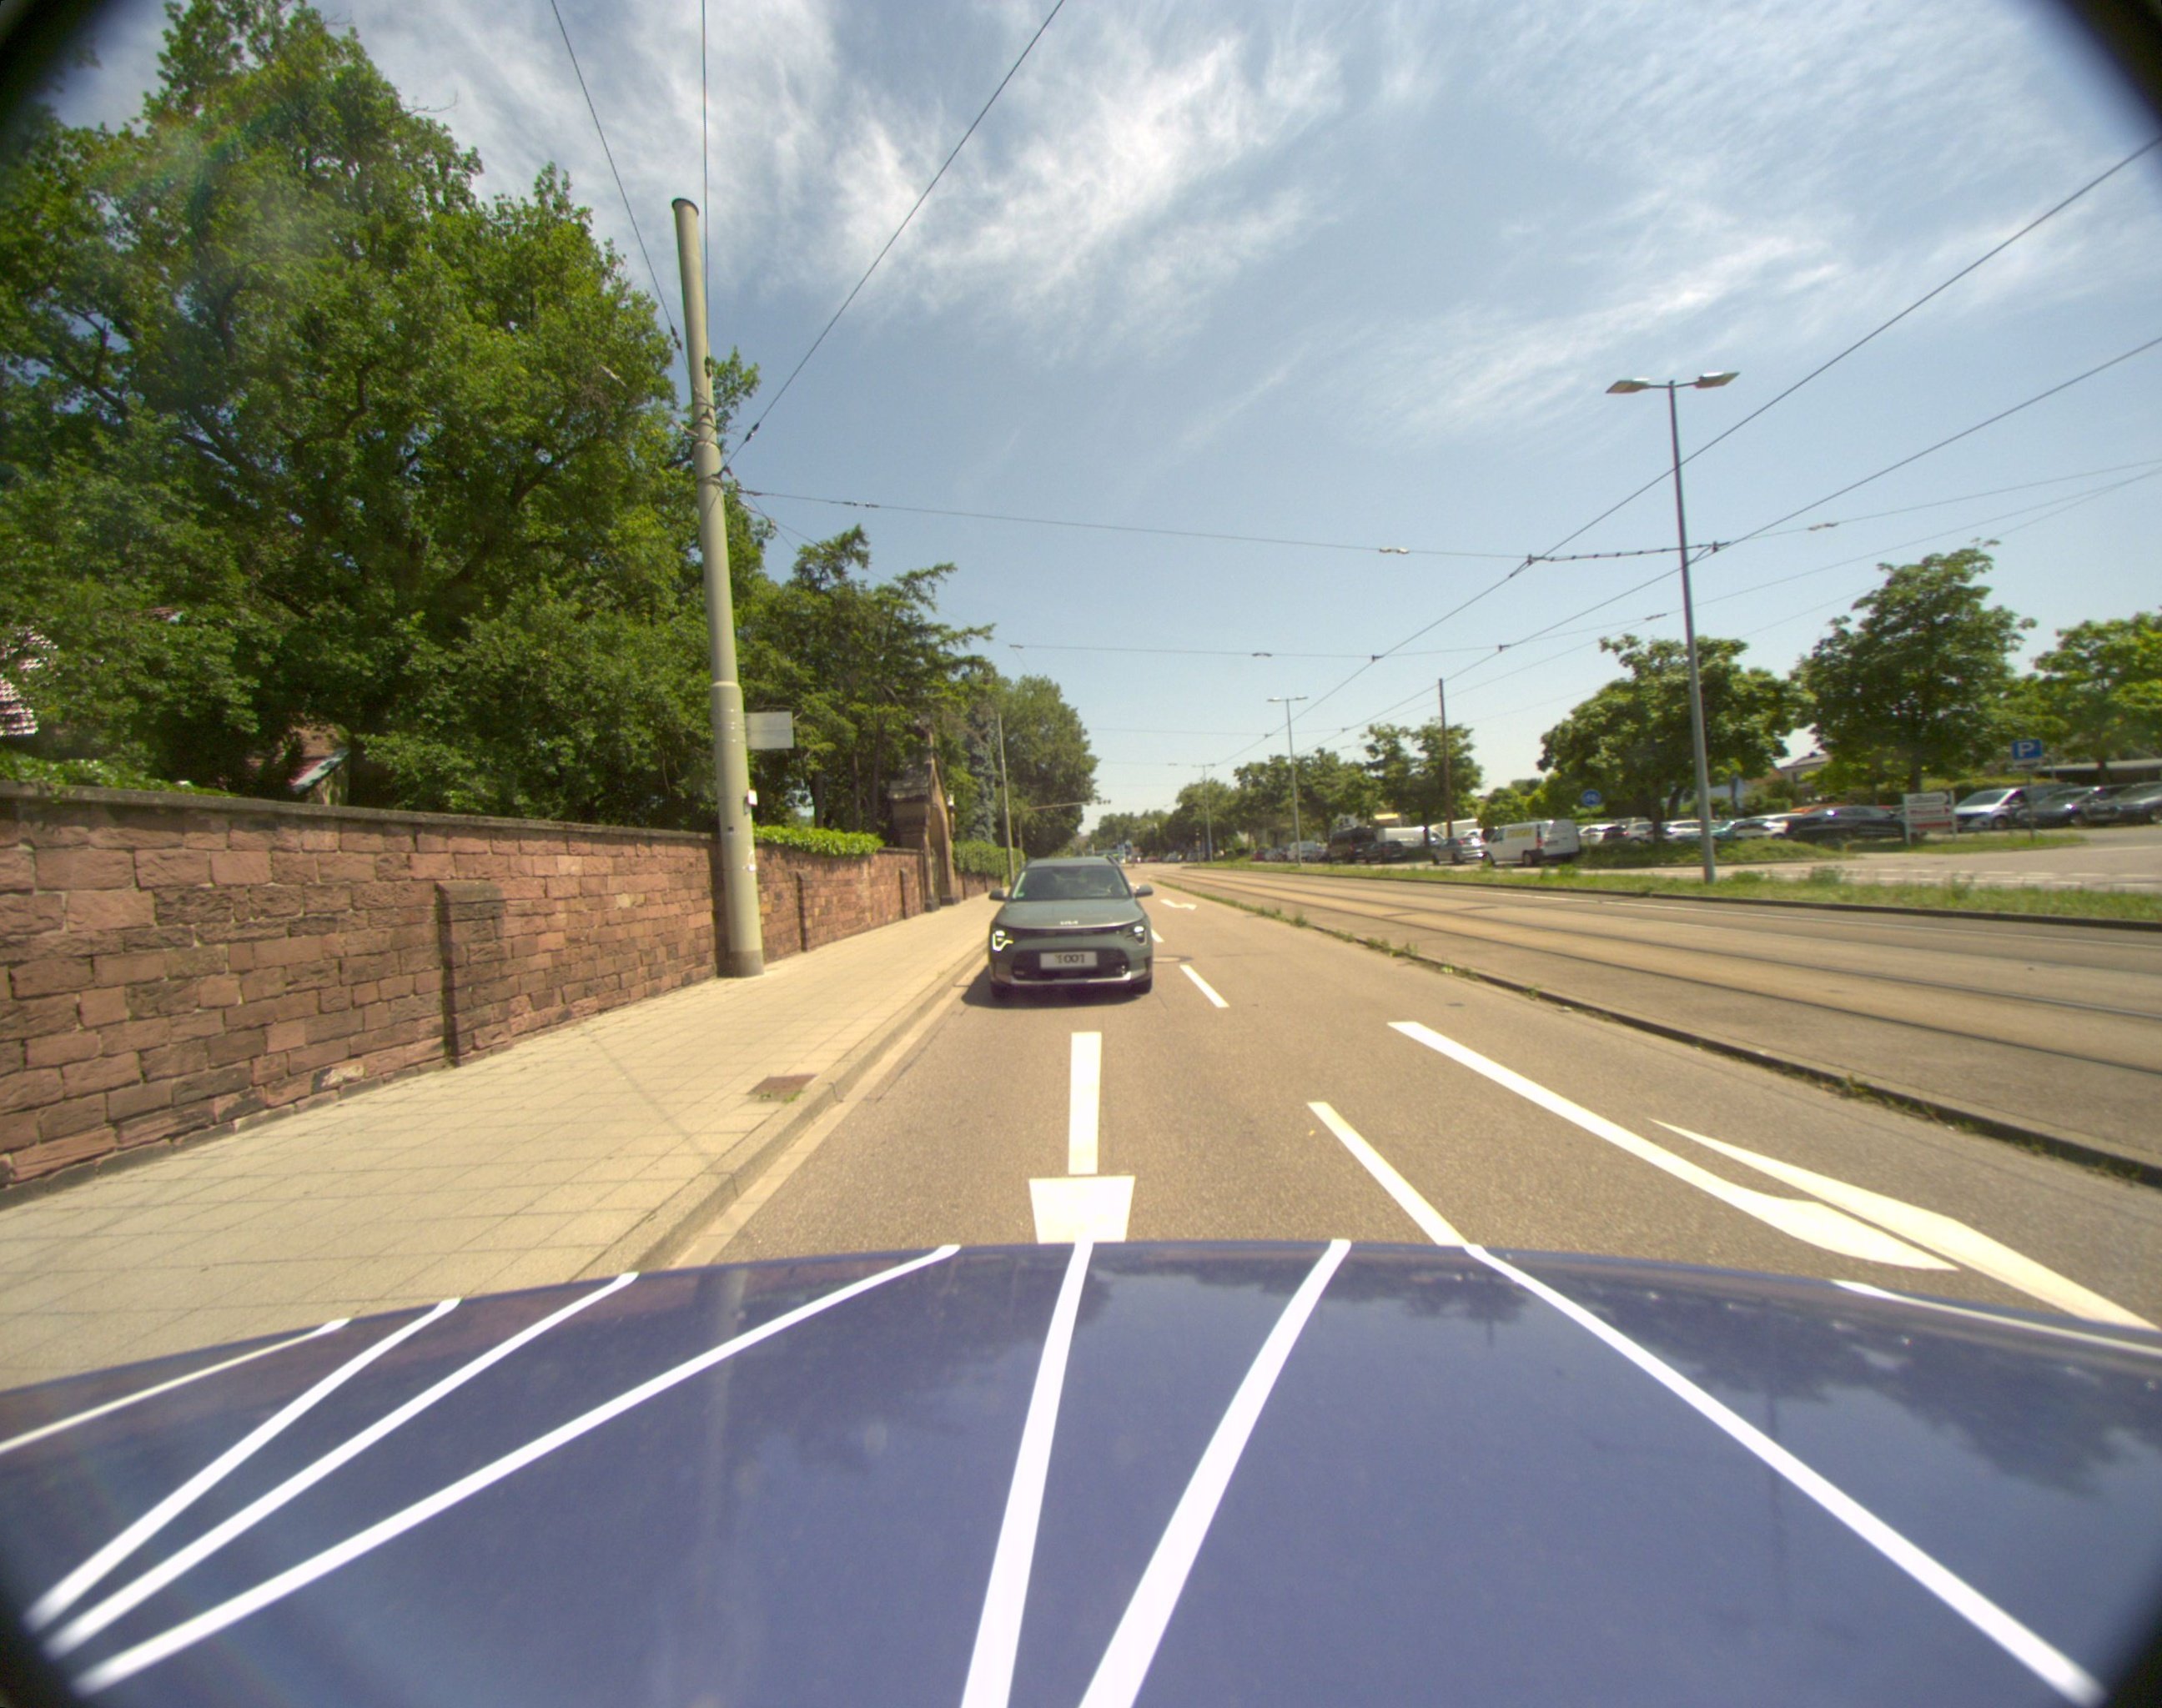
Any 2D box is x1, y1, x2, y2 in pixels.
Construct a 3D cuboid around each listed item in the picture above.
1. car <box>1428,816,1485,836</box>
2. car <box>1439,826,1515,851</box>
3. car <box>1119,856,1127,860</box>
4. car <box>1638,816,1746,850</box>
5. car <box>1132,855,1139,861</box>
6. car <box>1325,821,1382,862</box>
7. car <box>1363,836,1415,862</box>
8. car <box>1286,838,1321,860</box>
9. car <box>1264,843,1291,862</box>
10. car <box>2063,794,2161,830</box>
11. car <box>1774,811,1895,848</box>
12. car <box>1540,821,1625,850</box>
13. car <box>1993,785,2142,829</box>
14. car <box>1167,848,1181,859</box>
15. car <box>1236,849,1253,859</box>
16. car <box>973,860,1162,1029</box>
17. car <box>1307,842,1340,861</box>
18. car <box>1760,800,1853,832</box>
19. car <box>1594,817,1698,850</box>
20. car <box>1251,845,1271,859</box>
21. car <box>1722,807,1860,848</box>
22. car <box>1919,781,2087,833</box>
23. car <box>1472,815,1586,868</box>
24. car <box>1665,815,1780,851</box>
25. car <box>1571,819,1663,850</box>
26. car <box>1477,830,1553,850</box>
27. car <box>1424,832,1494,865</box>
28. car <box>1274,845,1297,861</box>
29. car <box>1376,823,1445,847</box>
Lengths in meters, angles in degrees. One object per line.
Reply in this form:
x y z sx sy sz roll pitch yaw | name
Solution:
44.793 -3.302 90.780 5.744 2.051 2.147 -3 1 -2 | car
31.186 -1.199 59.888 4.926 1.567 2.000 -4 0 -2 | car
12.717 1.201 229.214 1.782 1.310 3.751 -3 1 -9 | car
30.862 -1.062 38.455 4.146 1.481 1.859 -3 1 -6 | car
14.528 1.144 202.415 1.820 1.471 3.423 -3 1 3 | car
20.194 -0.918 56.531 2.243 2.821 5.667 -3 1 1 | car
20.265 -0.327 50.171 1.976 1.568 3.752 -3 1 1 | car
20.546 -0.486 70.439 1.924 1.937 4.817 -3 1 2 | car
20.849 -0.180 80.779 1.635 1.882 4.496 -3 1 1 | car
42.677 -1.716 30.645 3.724 1.277 1.764 -3 1 3 | car
30.454 -0.969 30.747 3.423 1.225 1.643 -4 0 -6 | car
30.451 -1.117 46.193 3.999 1.479 1.866 -4 0 -6 | car
43.188 -2.022 33.343 3.996 1.647 1.804 -3 1 3 | car
16.411 -0.116 134.055 1.821 1.979 4.212 -3 1 -3 | car
21.344 -0.006 99.260 1.582 1.152 3.423 -3 1 3 | car
-0.144 0.933 9.824 1.824 1.577 4.287 -3 0 0 | car
20.561 -0.232 64.589 1.767 1.456 3.608 -3 1 2 | car
43.664 -2.272 45.781 4.129 1.643 1.692 -3 0 -5 | car
30.358 -1.076 40.868 4.163 1.481 2.023 -4 0 -6 | car
20.641 -0.238 87.214 1.582 1.471 3.423 -3 1 3 | car
31.051 -1.143 33.313 4.171 1.481 1.984 -4 0 -1 | car
43.280 -2.174 35.764 5.120 2.058 2.226 -3 1 1 | car
19.963 -0.515 34.198 1.880 1.999 5.344 -7 0 1 | car
30.335 -0.984 35.999 4.040 1.481 1.912 -3 1 -6 | car
30.795 -1.117 43.698 4.075 1.481 1.831 -4 0 -6 | car
30.944 -0.984 54.213 4.261 1.137 2.032 -4 0 -3 | car
20.093 -0.289 40.567 1.654 1.494 4.126 -7 0 1 | car
20.400 -0.104 75.900 1.429 1.470 3.262 -3 1 1 | car
30.593 -1.780 70.632 5.434 1.944 2.029 -3 1 2 | car
